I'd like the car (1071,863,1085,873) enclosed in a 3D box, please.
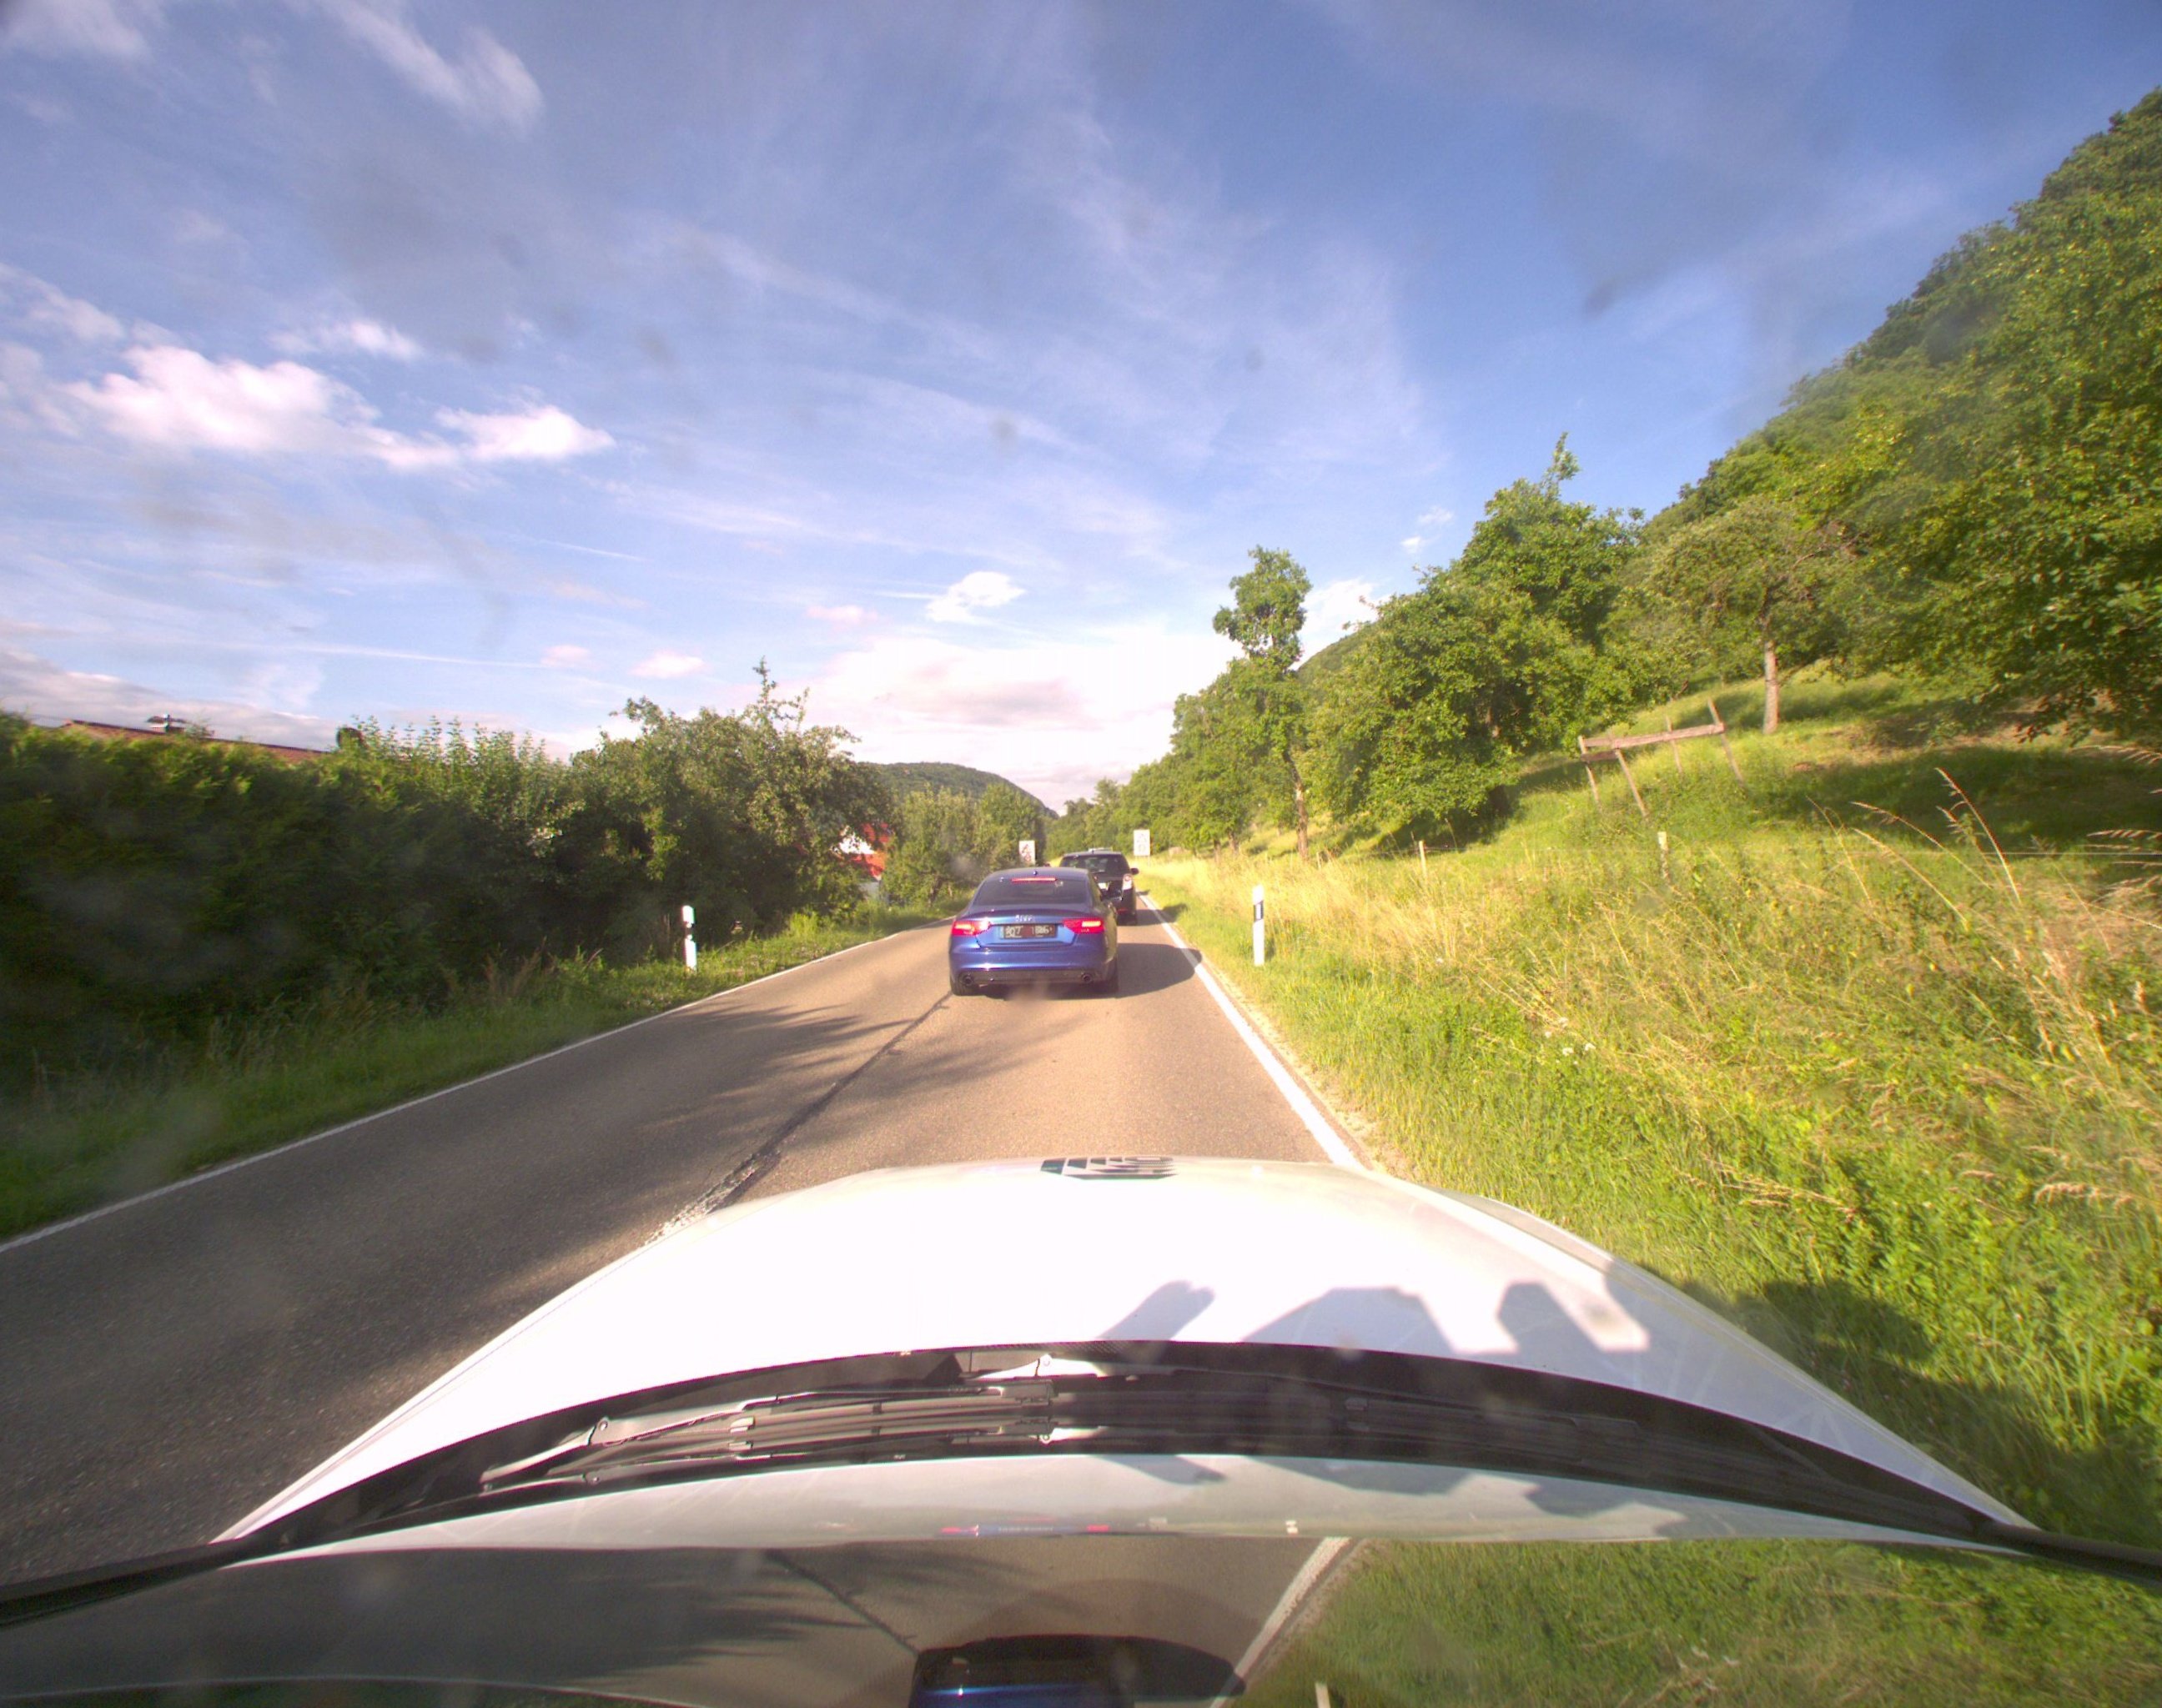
[{"bbox_3d":[-0.490,2.149,125.052,1.745,1.496,3.771,0,0,-6],"label":"car"}]

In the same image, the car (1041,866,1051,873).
[{"bbox_3d":[-7.314,3.193,168.149,1.559,1.496,3.764,0,0,-10],"label":"car"}]

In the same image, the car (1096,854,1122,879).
[{"bbox_3d":[1.913,0.843,56.053,1.686,1.624,3.790,-1,0,2],"label":"car"}]

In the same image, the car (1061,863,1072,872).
[{"bbox_3d":[-2.513,2.378,139.921,1.557,1.496,3.769,0,0,-7],"label":"car"}]

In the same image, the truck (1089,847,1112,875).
[{"bbox_3d":[1.689,0.601,70.700,1.943,2.345,5.095,0,0,1],"label":"truck"}]

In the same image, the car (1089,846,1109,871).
[{"bbox_3d":[1.784,0.435,80.905,1.787,2.453,3.917,0,0,-1],"label":"car"}]

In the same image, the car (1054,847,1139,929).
[{"bbox_3d":[0.376,0.693,18.367,1.686,1.624,3.790,-1,0,2],"label":"car"}]

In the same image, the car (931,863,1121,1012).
[{"bbox_3d":[-0.448,0.831,9.945,1.798,1.382,4.217,-1,-1,2],"label":"car"}]
